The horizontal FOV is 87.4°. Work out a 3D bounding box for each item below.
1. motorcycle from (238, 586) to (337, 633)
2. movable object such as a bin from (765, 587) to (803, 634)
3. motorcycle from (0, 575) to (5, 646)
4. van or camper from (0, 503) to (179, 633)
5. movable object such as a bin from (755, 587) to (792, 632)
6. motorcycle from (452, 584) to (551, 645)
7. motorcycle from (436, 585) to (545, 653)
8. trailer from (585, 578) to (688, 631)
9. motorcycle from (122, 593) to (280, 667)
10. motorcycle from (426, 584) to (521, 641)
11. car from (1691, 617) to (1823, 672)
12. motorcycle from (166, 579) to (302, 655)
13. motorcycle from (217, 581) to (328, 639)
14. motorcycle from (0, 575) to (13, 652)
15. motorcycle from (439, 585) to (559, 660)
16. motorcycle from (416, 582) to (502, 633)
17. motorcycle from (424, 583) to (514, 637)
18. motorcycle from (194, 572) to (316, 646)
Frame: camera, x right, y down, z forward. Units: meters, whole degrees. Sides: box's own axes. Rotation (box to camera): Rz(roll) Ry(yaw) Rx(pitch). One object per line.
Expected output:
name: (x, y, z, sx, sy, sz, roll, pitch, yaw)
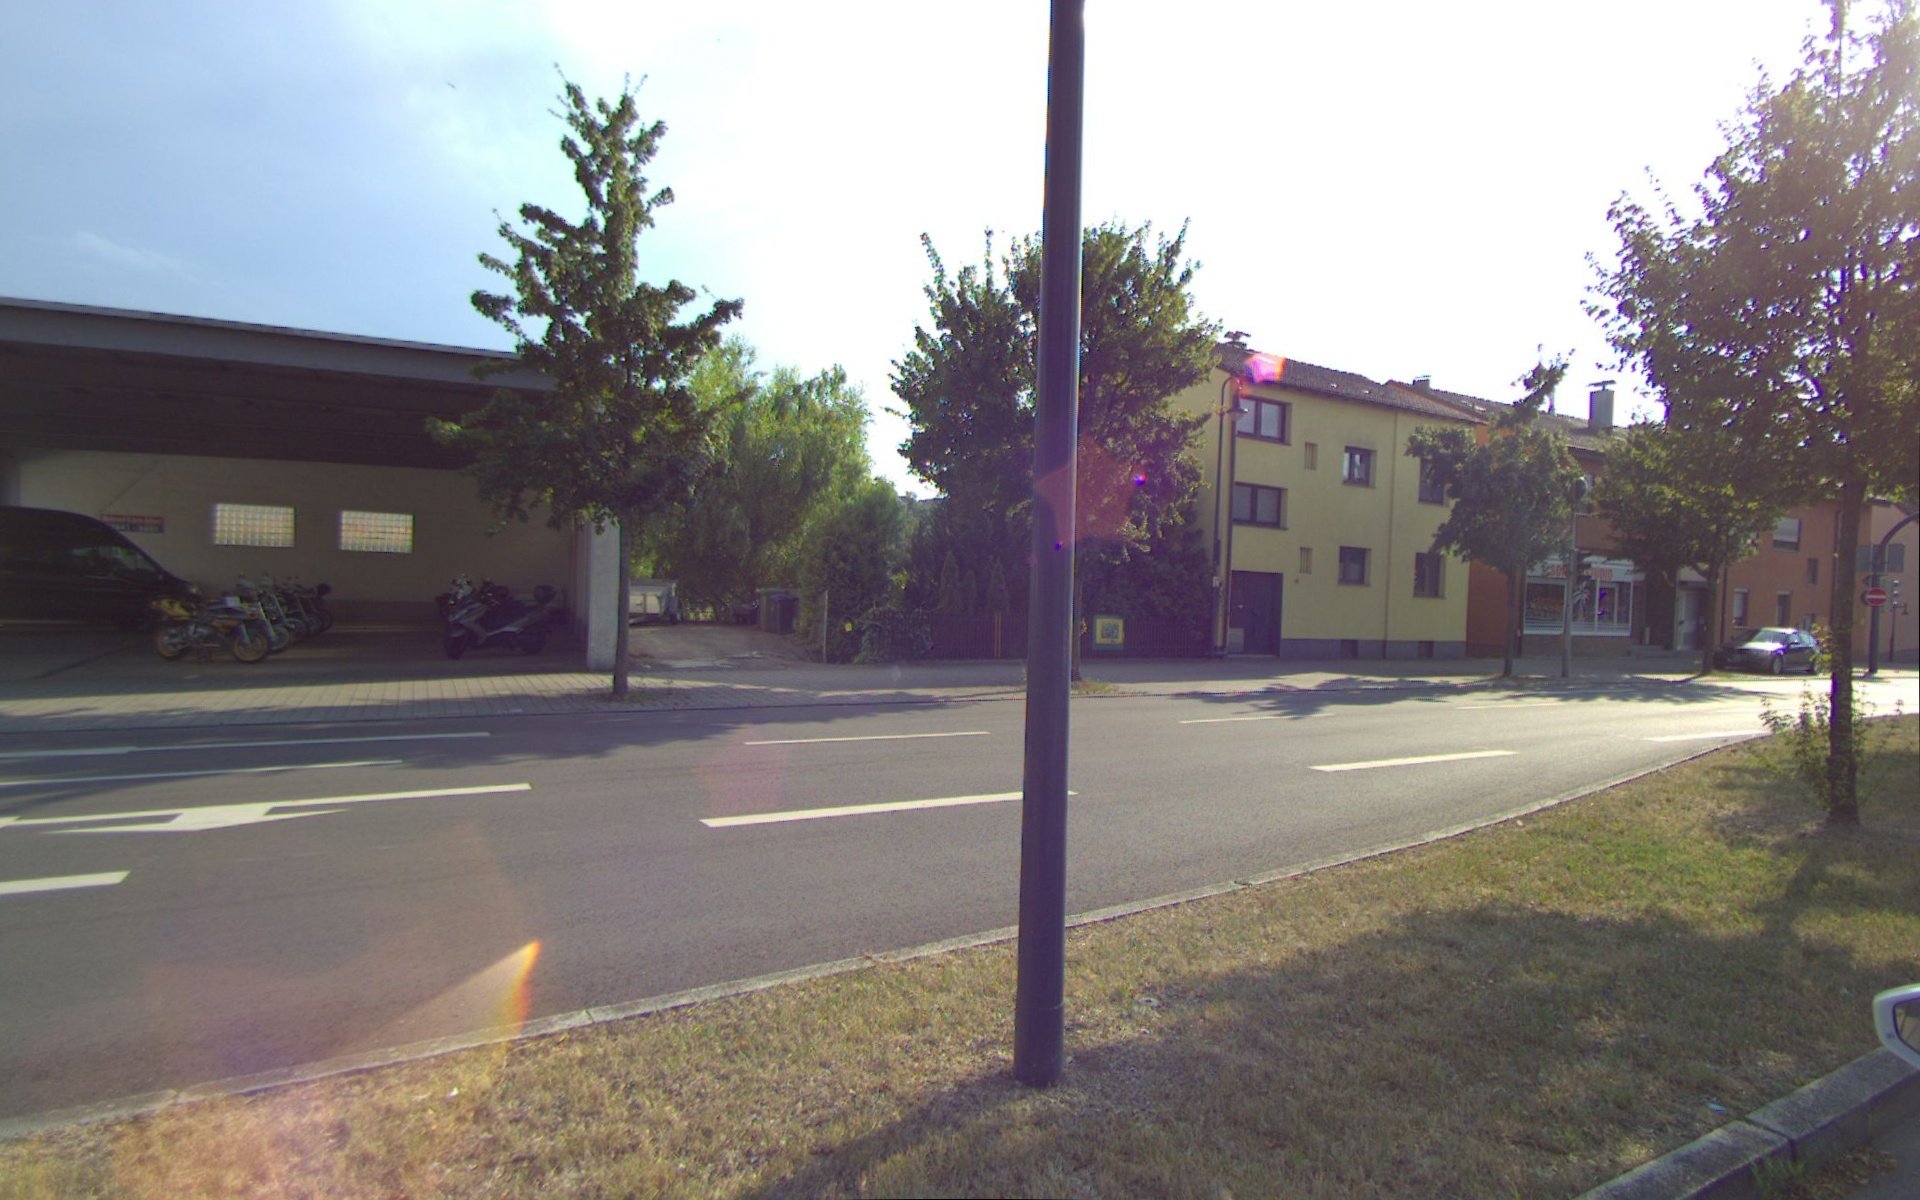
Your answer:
motorcycle: (-17.073, 0.233, 25.512, 2.111, 1.138, 0.563, 1, 0, 0)
movable object such as a bin: (-4.345, 0.266, 24.805, 0.688, 1.101, 0.727, 1, 3, -30)
motorcycle: (-18.640, 0.183, 18.083, 0.637, 1.329, 2.007, 1, 0, 23)
van or camper: (-20.503, -0.677, 21.971, 1.963, 2.716, 5.032, 1, 0, 27)
movable object such as a bin: (-4.758, 0.237, 25.593, 0.712, 1.101, 0.727, 1, 3, -30)
motorcycle: (-10.483, 0.335, 23.033, 0.612, 1.325, 2.086, 1, 0, 30)
motorcycle: (-9.671, 0.392, 20.766, 0.553, 1.325, 2.086, 1, 0, 30)
trailer: (-8.120, 0.065, 25.511, 1.692, 1.199, 3.594, 1, 1, -5)
motorcycle: (-12.513, 0.487, 16.583, 2.111, 1.139, 0.631, 1, 0, 0)
motorcycle: (-11.806, 0.309, 24.445, 0.573, 1.325, 2.086, 1, 0, 30)
car: (25.863, 1.435, 32.601, 3.949, 1.573, 1.836, 1, 2, -27)
motorcycle: (-13.550, 0.321, 18.761, 2.111, 1.347, 0.563, 1, 0, 0)
motorcycle: (-15.836, 0.222, 23.163, 2.111, 1.275, 0.647, 1, 0, 0)
motorcycle: (-17.245, 0.217, 16.755, 0.637, 1.329, 2.007, 1, 0, 23)
motorcycle: (-8.632, 0.416, 18.906, 0.553, 1.325, 2.112, 1, 0, 30)
motorcycle: (-13.515, 0.204, 27.154, 0.553, 1.325, 2.086, 1, 0, 30)
motorcycle: (-12.573, 0.269, 25.787, 0.553, 1.325, 2.086, 1, 0, 30)
motorcycle: (-14.714, 0.187, 20.993, 2.111, 1.468, 0.594, 1, 0, 0)
